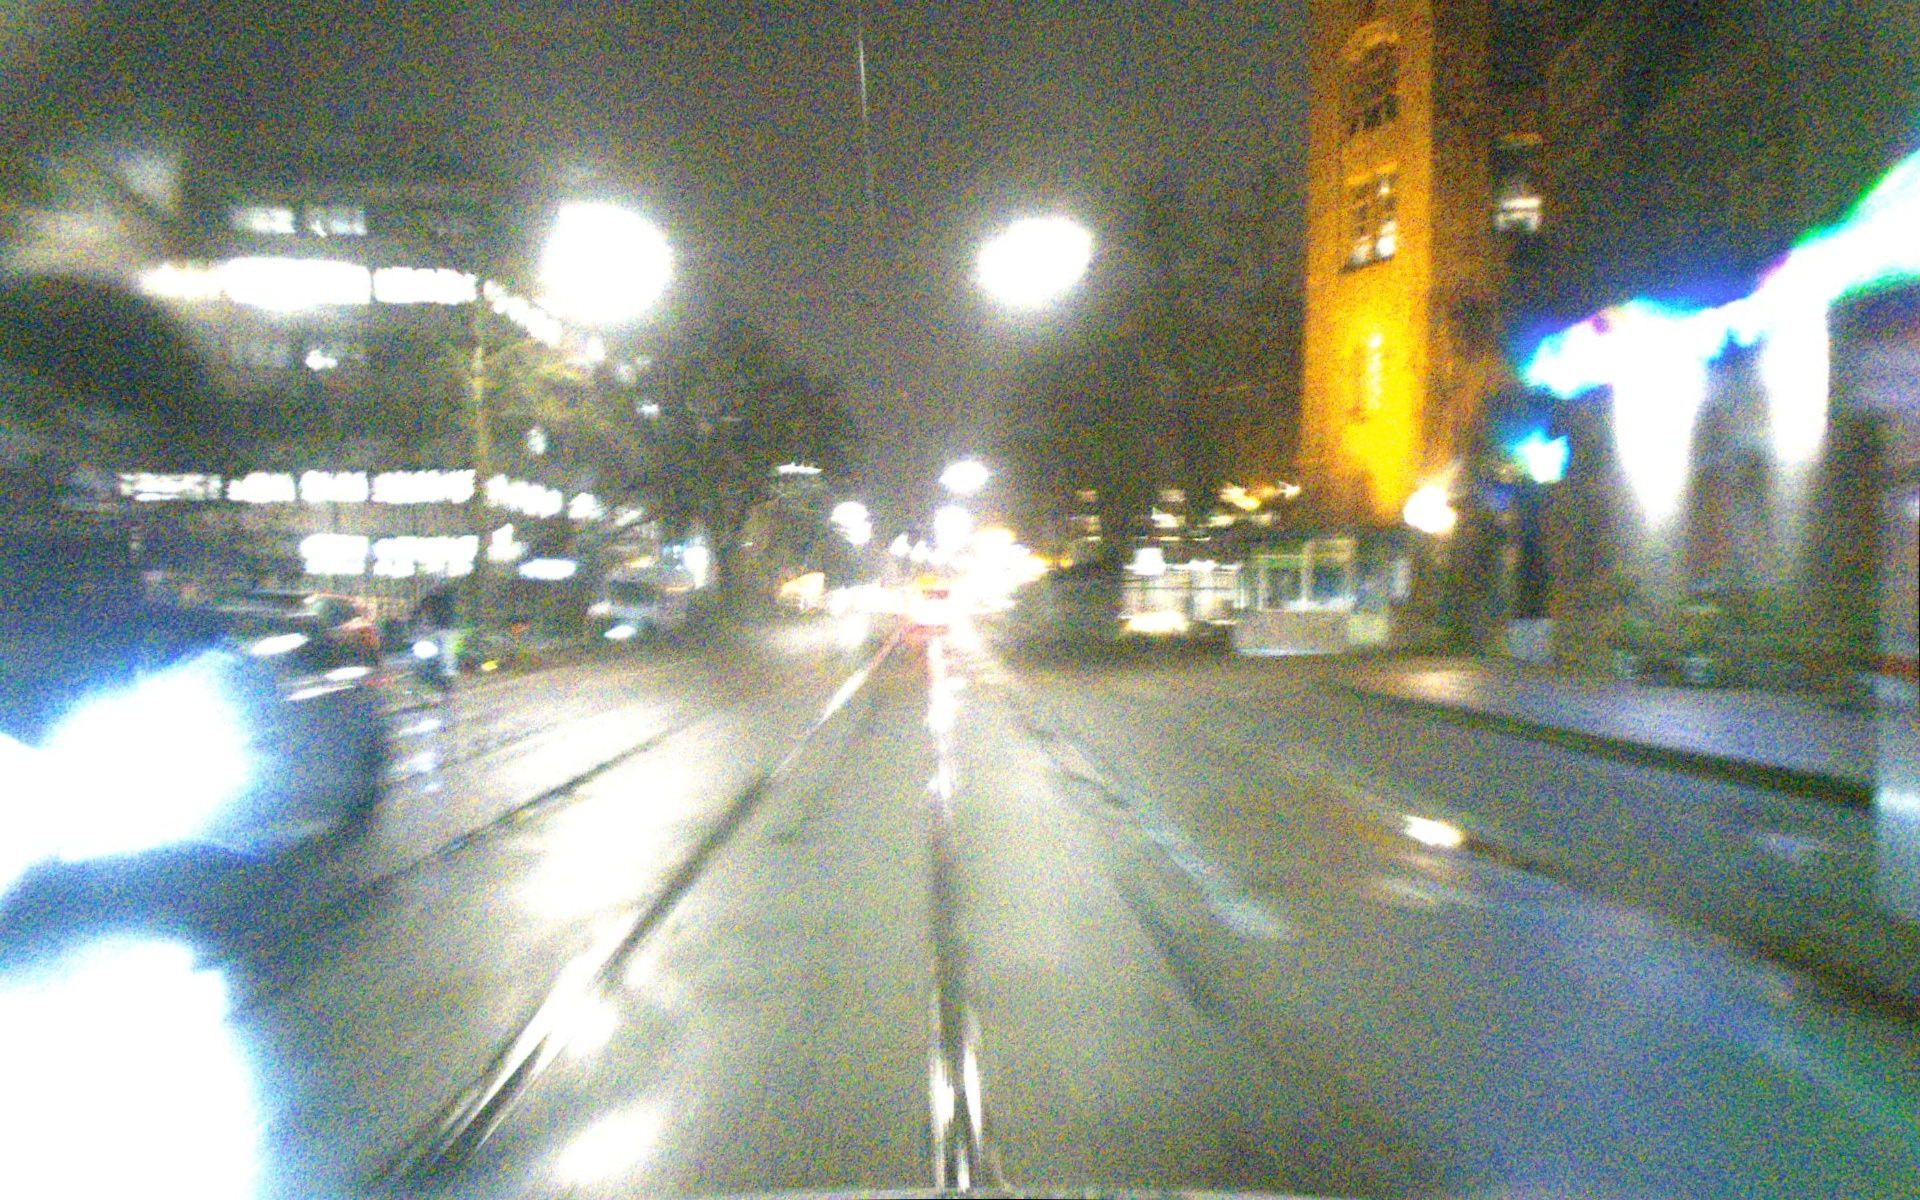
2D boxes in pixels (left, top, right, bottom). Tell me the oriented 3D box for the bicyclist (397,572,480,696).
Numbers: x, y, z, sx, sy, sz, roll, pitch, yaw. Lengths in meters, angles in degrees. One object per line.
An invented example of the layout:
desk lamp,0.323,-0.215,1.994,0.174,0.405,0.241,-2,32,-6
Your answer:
bicyclist,-7.393,0.469,23.497,0.766,1.684,1.206,-2,0,-1

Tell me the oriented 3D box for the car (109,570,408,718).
car,-9.101,0.523,21.941,1.929,1.684,4.601,2,0,0

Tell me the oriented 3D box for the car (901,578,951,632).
car,-1.588,0.216,76.165,2.199,2.402,4.391,0,0,-2

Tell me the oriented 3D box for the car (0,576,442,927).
car,-4.400,0.648,9.307,1.740,1.544,4.050,0,0,-1

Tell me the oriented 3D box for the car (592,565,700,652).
car,-10.009,0.207,53.279,2.140,2.637,6.393,0,1,1

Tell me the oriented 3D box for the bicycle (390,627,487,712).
bicycle,-7.375,0.956,23.492,0.766,1.101,1.918,-2,0,-1
